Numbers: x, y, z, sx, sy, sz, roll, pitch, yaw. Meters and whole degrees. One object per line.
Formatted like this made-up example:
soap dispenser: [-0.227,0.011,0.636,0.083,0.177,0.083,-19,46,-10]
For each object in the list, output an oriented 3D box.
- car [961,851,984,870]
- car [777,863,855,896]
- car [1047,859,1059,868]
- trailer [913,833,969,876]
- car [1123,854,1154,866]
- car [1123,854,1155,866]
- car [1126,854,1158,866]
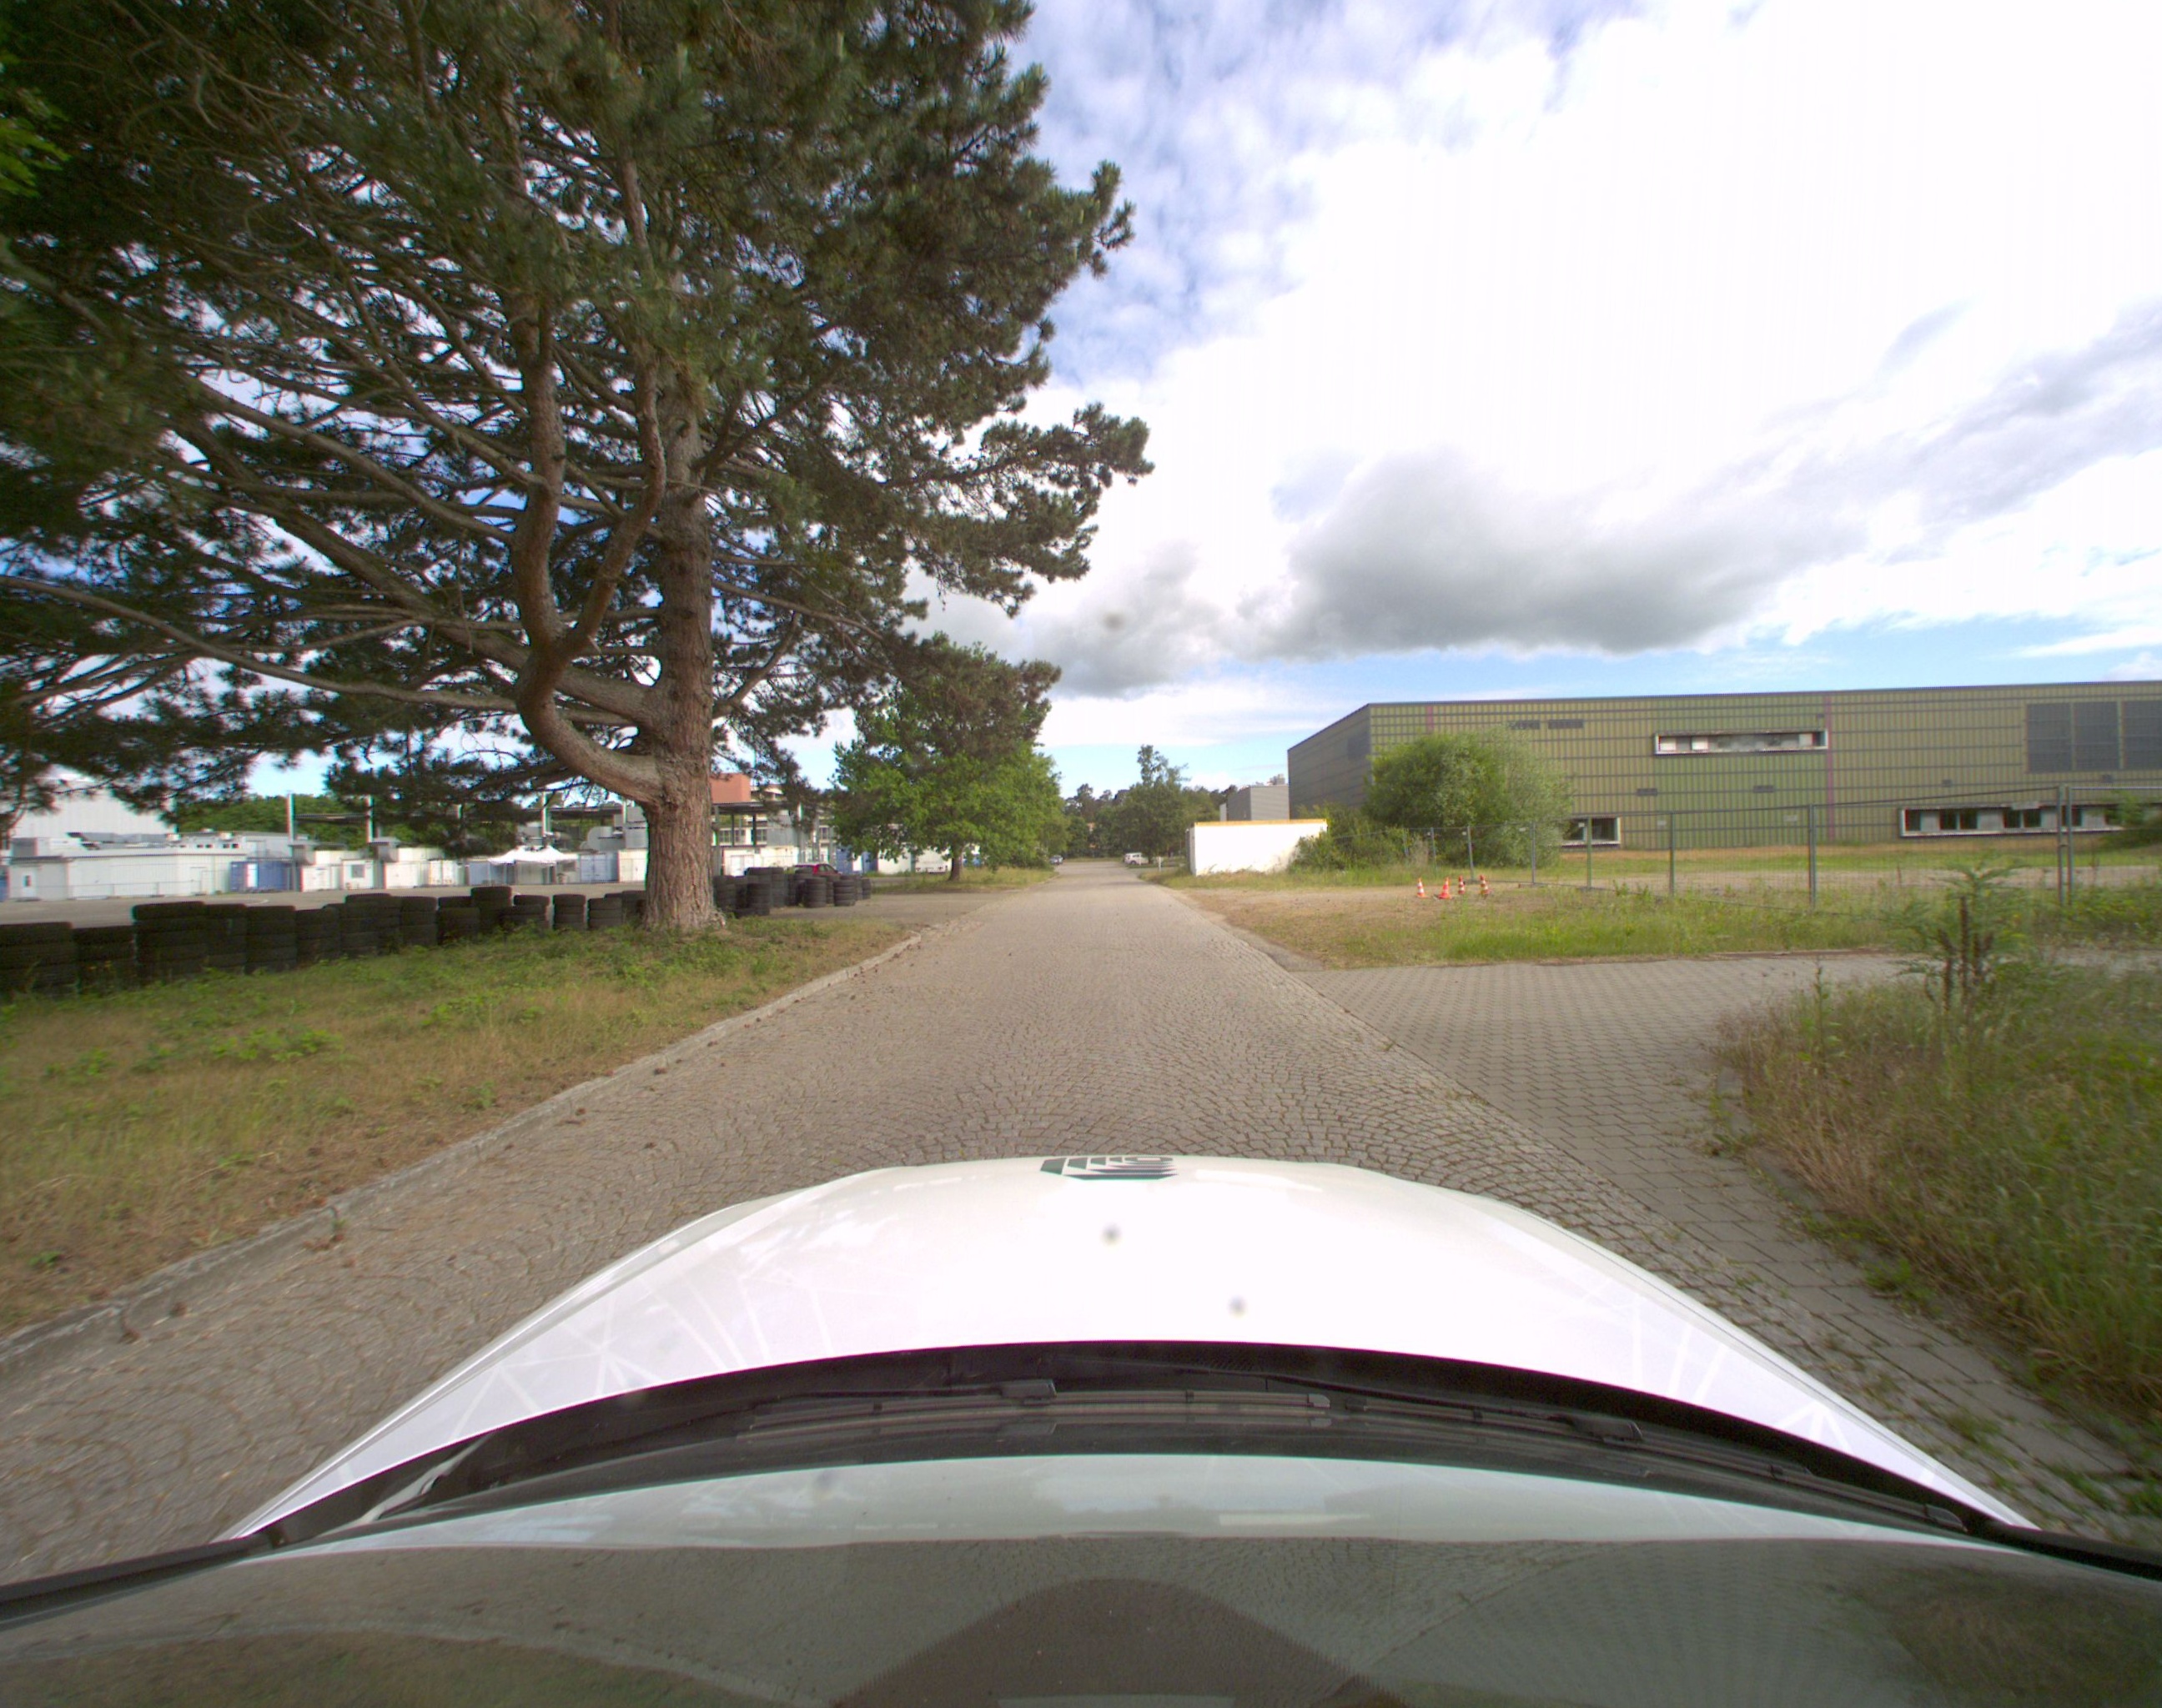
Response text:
car: [-15.489,0.905,116.792,1.984,2.523,5.625,-2,0,5]
car: [-12.520,1.175,38.771,1.814,1.431,4.227,-2,0,7]
car: [-4.342,1.425,128.245,1.744,1.364,3.998,-2,0,-1]
trailer: [-13.086,0.092,77.000,2.645,3.706,10.731,-2,0,4]
car: [7.674,0.753,109.334,3.972,1.455,1.770,-2,0,1]
car: [7.547,0.811,106.293,3.972,1.455,1.698,-2,0,1]
car: [7.790,0.788,104.121,3.972,1.455,2.000,-1,-1,1]
